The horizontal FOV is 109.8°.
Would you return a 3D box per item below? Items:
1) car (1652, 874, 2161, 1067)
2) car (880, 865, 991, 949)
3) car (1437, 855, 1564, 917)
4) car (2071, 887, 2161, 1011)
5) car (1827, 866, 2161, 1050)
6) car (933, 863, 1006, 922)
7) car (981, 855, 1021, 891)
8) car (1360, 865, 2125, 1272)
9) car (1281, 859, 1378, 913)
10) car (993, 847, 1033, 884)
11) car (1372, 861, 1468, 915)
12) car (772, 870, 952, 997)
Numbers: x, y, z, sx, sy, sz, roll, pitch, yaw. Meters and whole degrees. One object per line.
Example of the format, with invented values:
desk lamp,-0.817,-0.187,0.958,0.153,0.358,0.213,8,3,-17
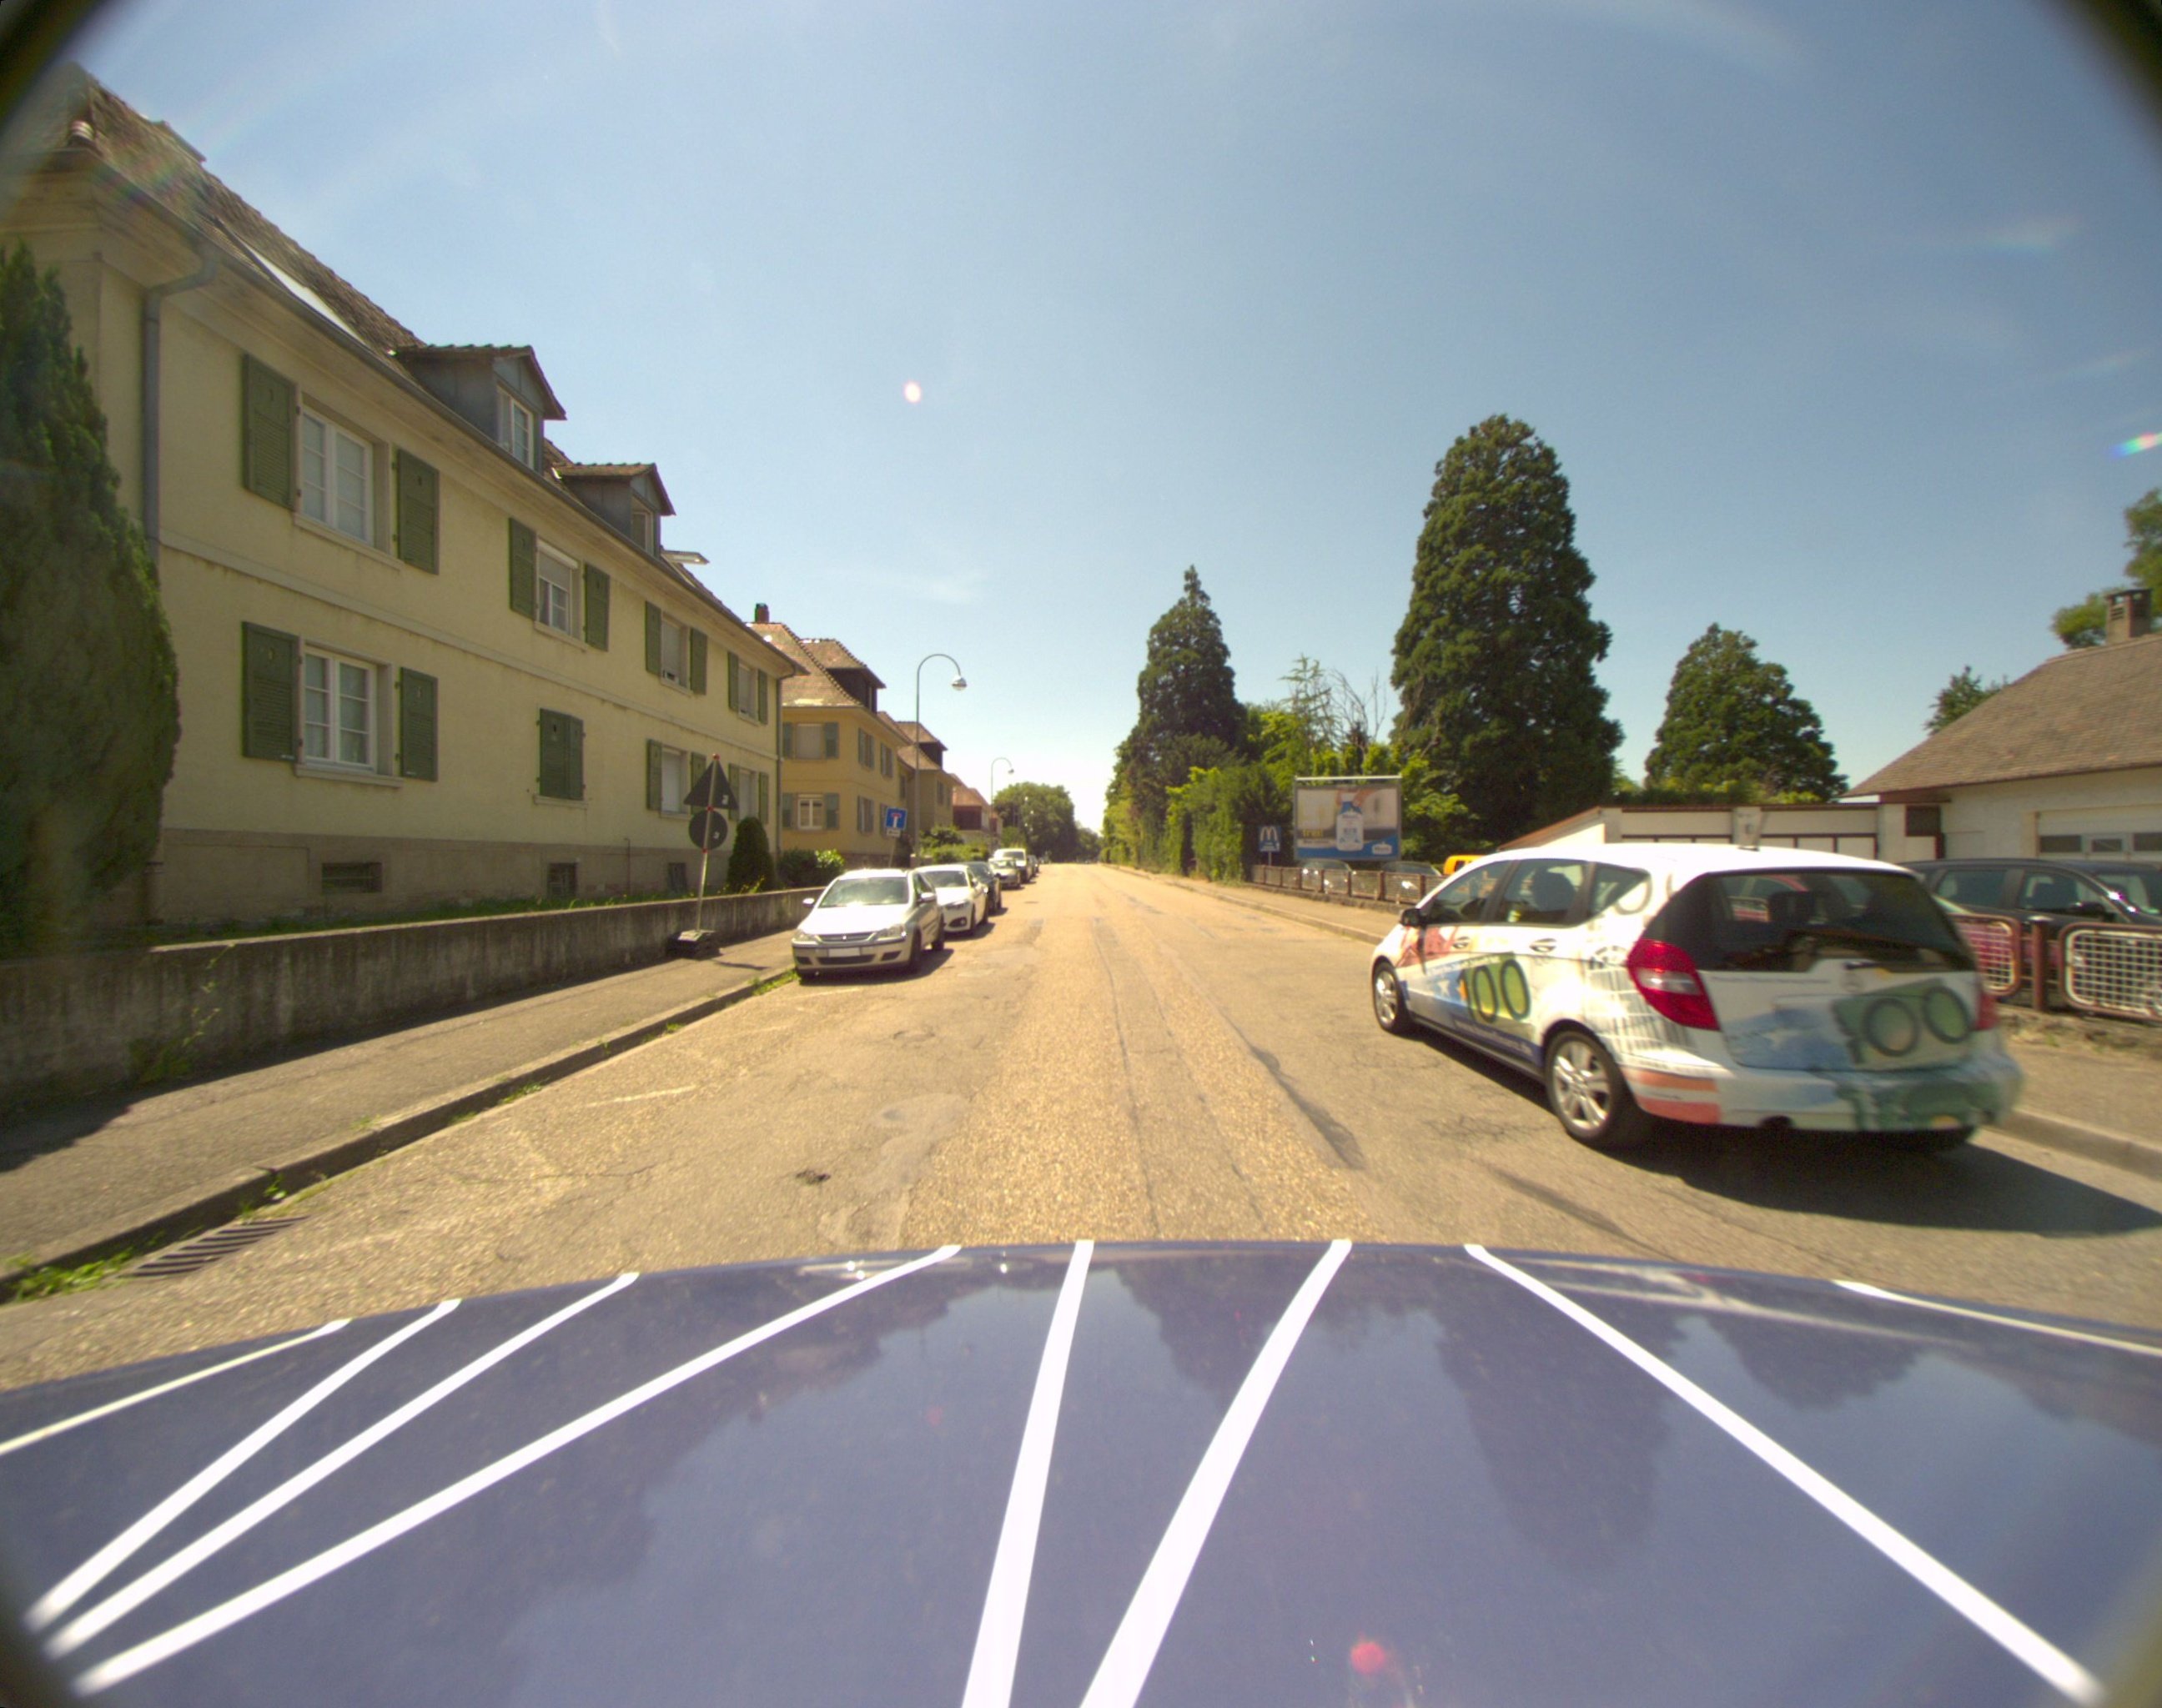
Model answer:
car,8.681,1.049,8.518,1.798,1.509,4.002,1,0,6
car,-2.977,1.032,16.303,1.671,1.427,3.999,-2,1,-2
car,13.429,0.968,24.620,1.799,1.732,3.998,1,1,-1
car,13.573,1.158,7.793,1.798,1.425,4.002,1,0,6
car,11.243,1.011,8.460,1.797,1.669,4.627,1,0,9
car,-3.083,1.006,21.625,1.600,1.422,3.999,-2,0,-3
car,-3.692,0.846,35.593,1.600,1.495,3.998,-1,1,-3
car,3.366,0.894,4.997,1.656,1.553,3.885,0,0,1
car,8.106,0.986,25.210,1.799,1.509,3.998,1,1,-1
car,-3.706,0.587,42.214,1.852,1.858,4.689,-2,1,-2
car,11.060,1.044,25.105,1.797,1.509,4.001,1,1,7
car,-3.109,1.044,11.612,1.671,1.457,3.999,-2,0,-2
